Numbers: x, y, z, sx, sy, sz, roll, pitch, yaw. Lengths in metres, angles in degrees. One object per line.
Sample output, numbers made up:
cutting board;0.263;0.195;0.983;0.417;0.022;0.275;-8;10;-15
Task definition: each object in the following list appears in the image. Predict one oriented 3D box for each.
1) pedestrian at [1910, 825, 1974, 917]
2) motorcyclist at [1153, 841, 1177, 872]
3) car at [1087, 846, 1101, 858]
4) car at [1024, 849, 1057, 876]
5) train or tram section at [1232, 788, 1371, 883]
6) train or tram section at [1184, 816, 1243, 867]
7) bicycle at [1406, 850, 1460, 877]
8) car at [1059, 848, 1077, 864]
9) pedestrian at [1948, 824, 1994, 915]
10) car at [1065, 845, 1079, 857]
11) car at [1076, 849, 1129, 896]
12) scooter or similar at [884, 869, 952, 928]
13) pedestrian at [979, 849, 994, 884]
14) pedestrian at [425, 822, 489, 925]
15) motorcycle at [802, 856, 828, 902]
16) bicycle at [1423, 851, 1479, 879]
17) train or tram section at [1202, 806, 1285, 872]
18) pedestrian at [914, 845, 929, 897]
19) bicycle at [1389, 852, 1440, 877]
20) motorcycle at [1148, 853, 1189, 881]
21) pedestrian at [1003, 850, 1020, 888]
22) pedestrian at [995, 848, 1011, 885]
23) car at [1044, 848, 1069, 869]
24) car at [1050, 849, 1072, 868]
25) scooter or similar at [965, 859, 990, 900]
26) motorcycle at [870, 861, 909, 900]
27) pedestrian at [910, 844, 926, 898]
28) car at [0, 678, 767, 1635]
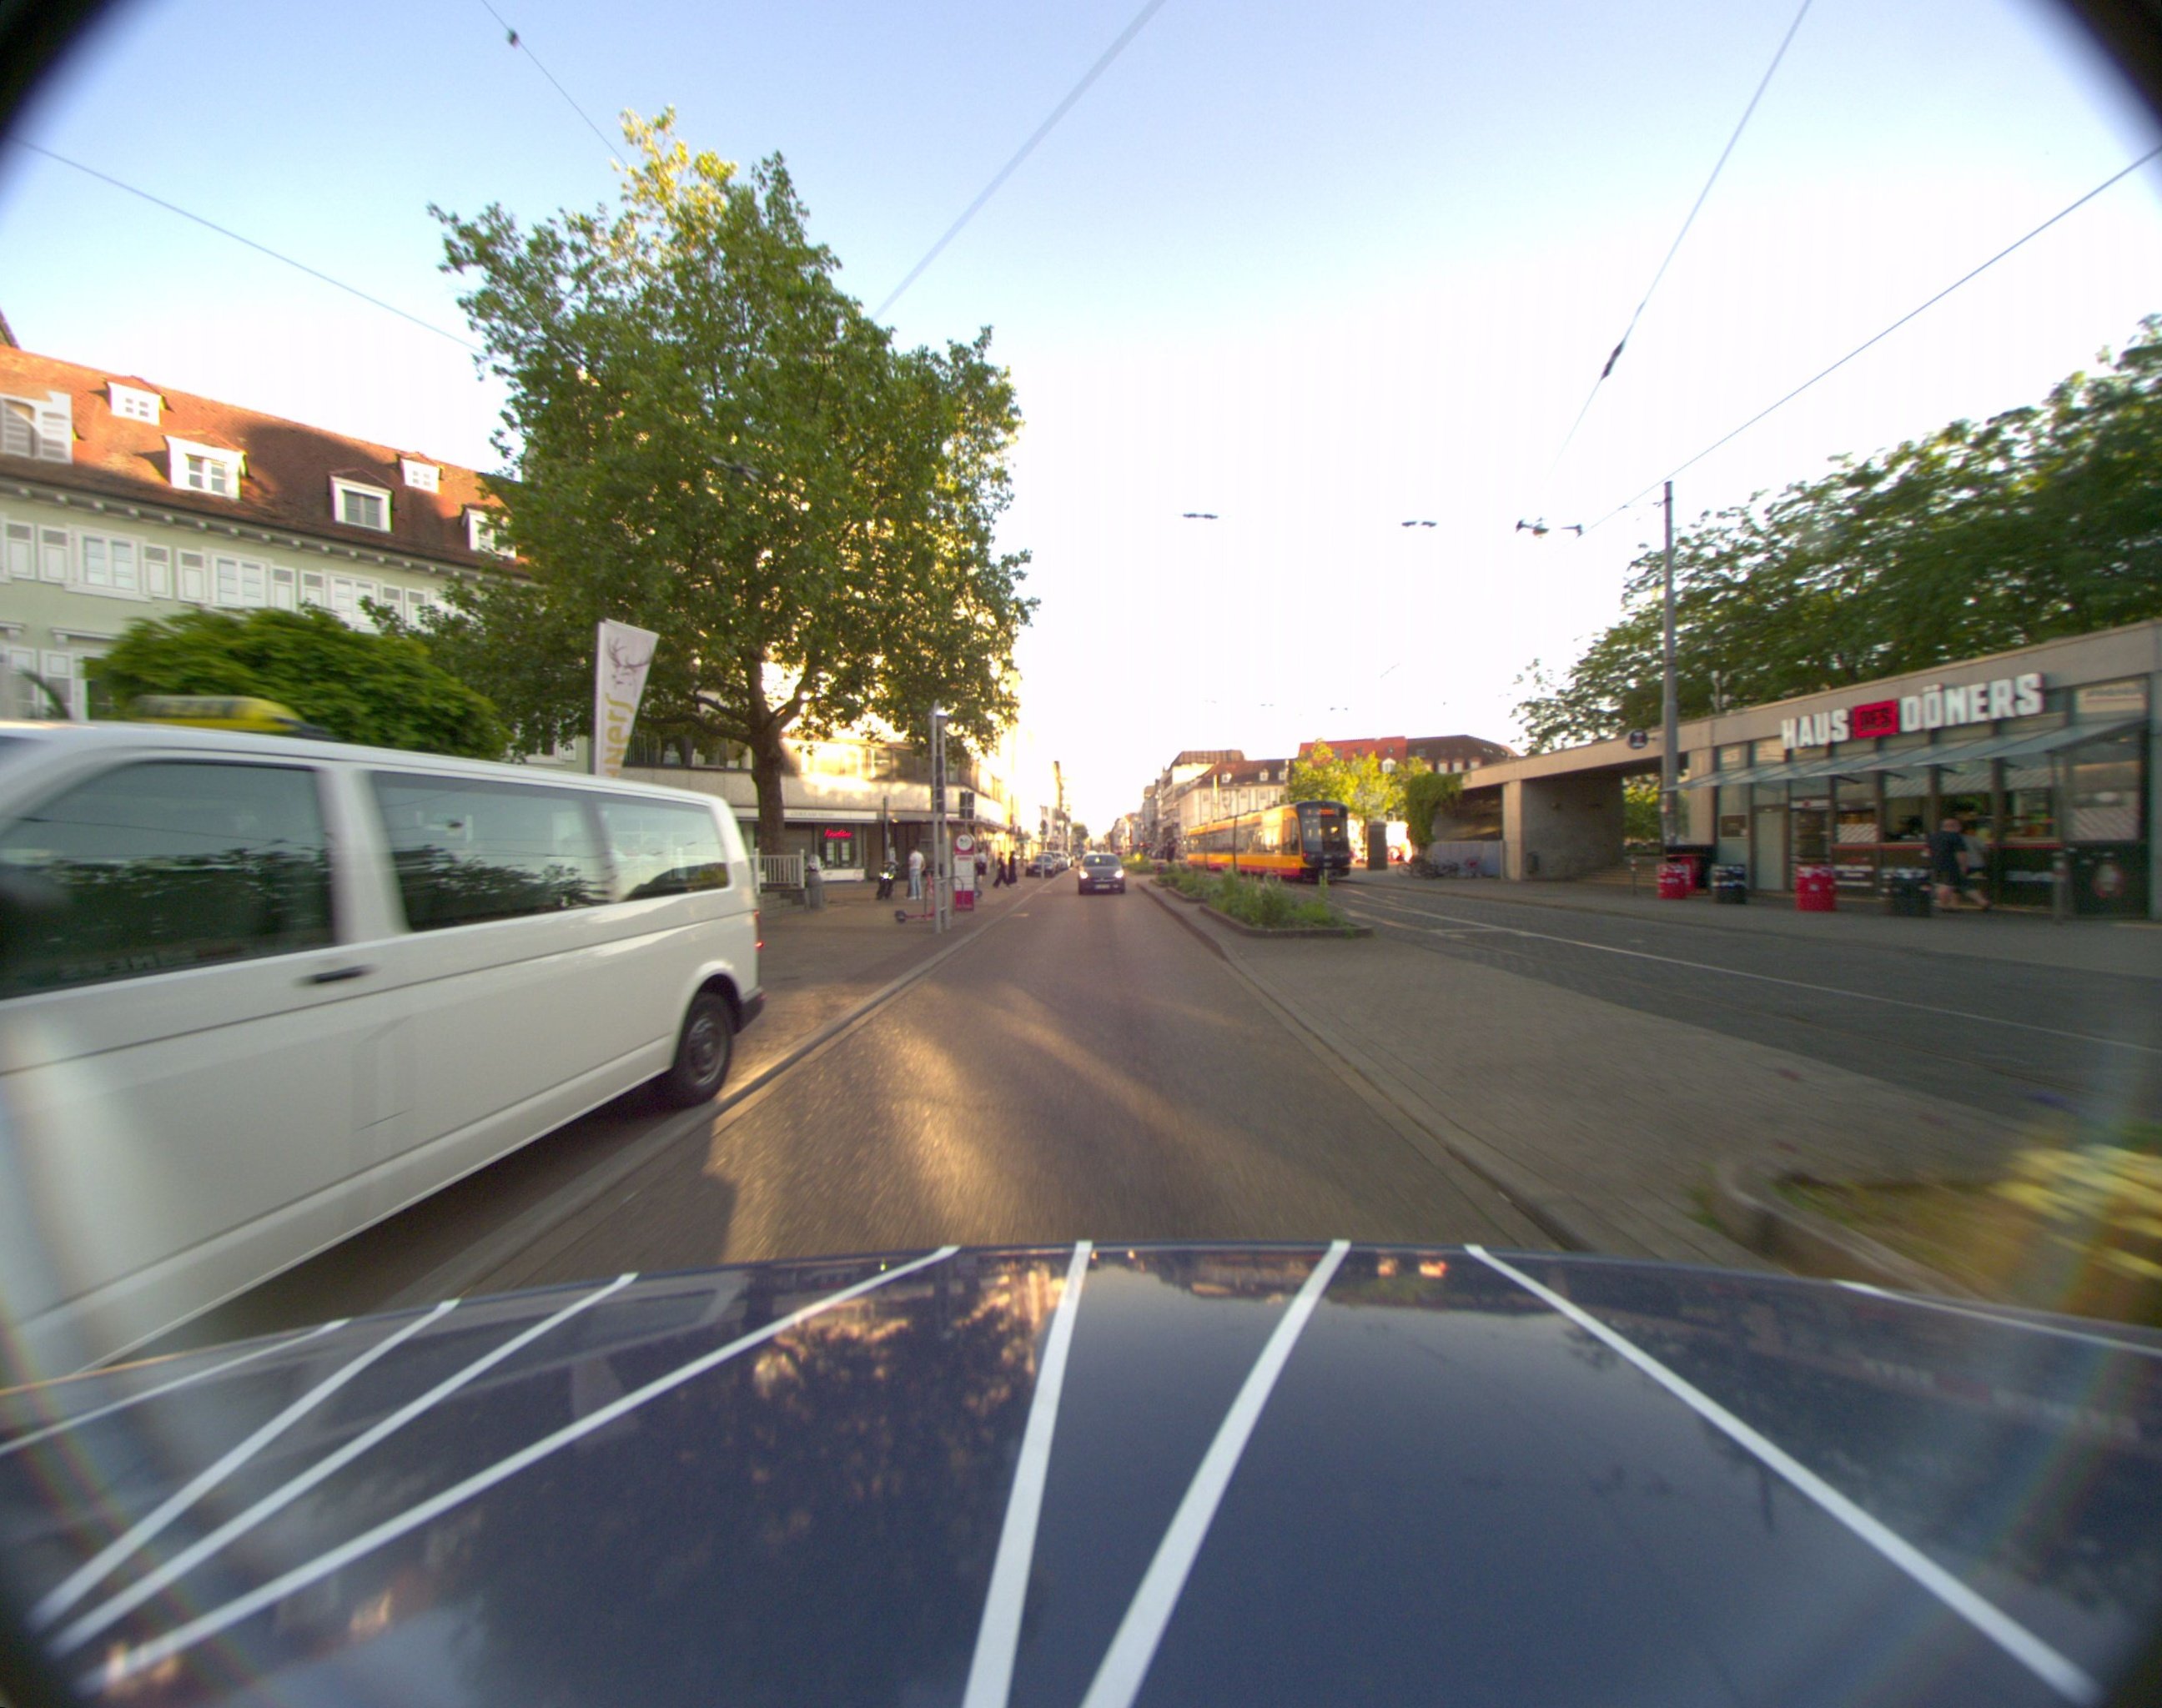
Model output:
pedestrian;15.791;0.301;13.940;0.563;1.643;0.552;-2;2;-5
motorcyclist;3.999;0.119;36.190;0.801;1.431;0.798;-3;2;-31
car;1.750;-0.251;101.315;1.810;1.475;4.283;-3;0;1
car;-2.519;0.492;47.832;1.771;1.565;3.999;1;1;1
train or tram section;9.969;-0.760;36.441;2.902;3.664;13.480;-1;0;1
train or tram section;10.371;-0.920;60.500;2.902;3.664;10.784;-1;0;1
bicycle;16.133;0.433;34.826;2.131;1.153;0.692;-1;1;2
car;-1.356;0.213;80.233;1.771;1.565;3.999;1;1;1
pedestrian;16.383;0.279;13.990;0.394;1.643;0.401;-2;2;-5
car;-1.250;-0.421;104.841;1.771;1.565;3.999;1;1;1
car;0.764;0.619;27.651;1.738;1.495;3.999;-2;1;1
scooter or similar;-3.545;0.961;16.579;1.345;1.225;0.535;1;2;-1
pedestrian;-4.470;0.578;35.884;0.638;1.616;0.519;-1;2;-10
pedestrian;-9.667;0.298;11.783;0.490;1.549;0.532;-1;1;1
motorcycle;-8.353;0.790;23.889;0.707;1.397;1.966;0;-2;-17
bicycle;16.157;0.474;33.206;2.131;1.153;0.692;-1;1;2
train or tram section;10.193;-0.869;49.208;2.902;3.664;11.983;-1;0;1
pedestrian;-5.279;0.558;25.168;0.432;1.726;0.409;0;1;-17
bicycle;16.029;0.503;36.567;2.131;1.153;0.692;-1;1;2
motorcycle;4.199;0.607;36.306;1.782;1.230;0.804;-3;2;-30
pedestrian;-2.997;0.630;32.810;0.638;1.616;0.519;-1;2;-10
pedestrian;-3.461;0.533;33.598;0.638;1.616;0.519;-1;2;-10
car;-1.969;0.319;62.132;1.771;1.565;3.999;1;1;1
car;-1.739;0.342;67.402;1.771;1.565;3.999;1;1;1
scooter or similar;-3.320;0.815;24.484;0.534;1.225;1.656;1;1;1
motorcycle;-6.094;0.827;24.305;0.705;1.179;1.968;0;1;1
pedestrian;-5.276;0.553;24.603;0.431;1.726;0.409;0;1;-3
car;-3.228;0.637;2.777;1.857;2.055;5.215;0;1;1
